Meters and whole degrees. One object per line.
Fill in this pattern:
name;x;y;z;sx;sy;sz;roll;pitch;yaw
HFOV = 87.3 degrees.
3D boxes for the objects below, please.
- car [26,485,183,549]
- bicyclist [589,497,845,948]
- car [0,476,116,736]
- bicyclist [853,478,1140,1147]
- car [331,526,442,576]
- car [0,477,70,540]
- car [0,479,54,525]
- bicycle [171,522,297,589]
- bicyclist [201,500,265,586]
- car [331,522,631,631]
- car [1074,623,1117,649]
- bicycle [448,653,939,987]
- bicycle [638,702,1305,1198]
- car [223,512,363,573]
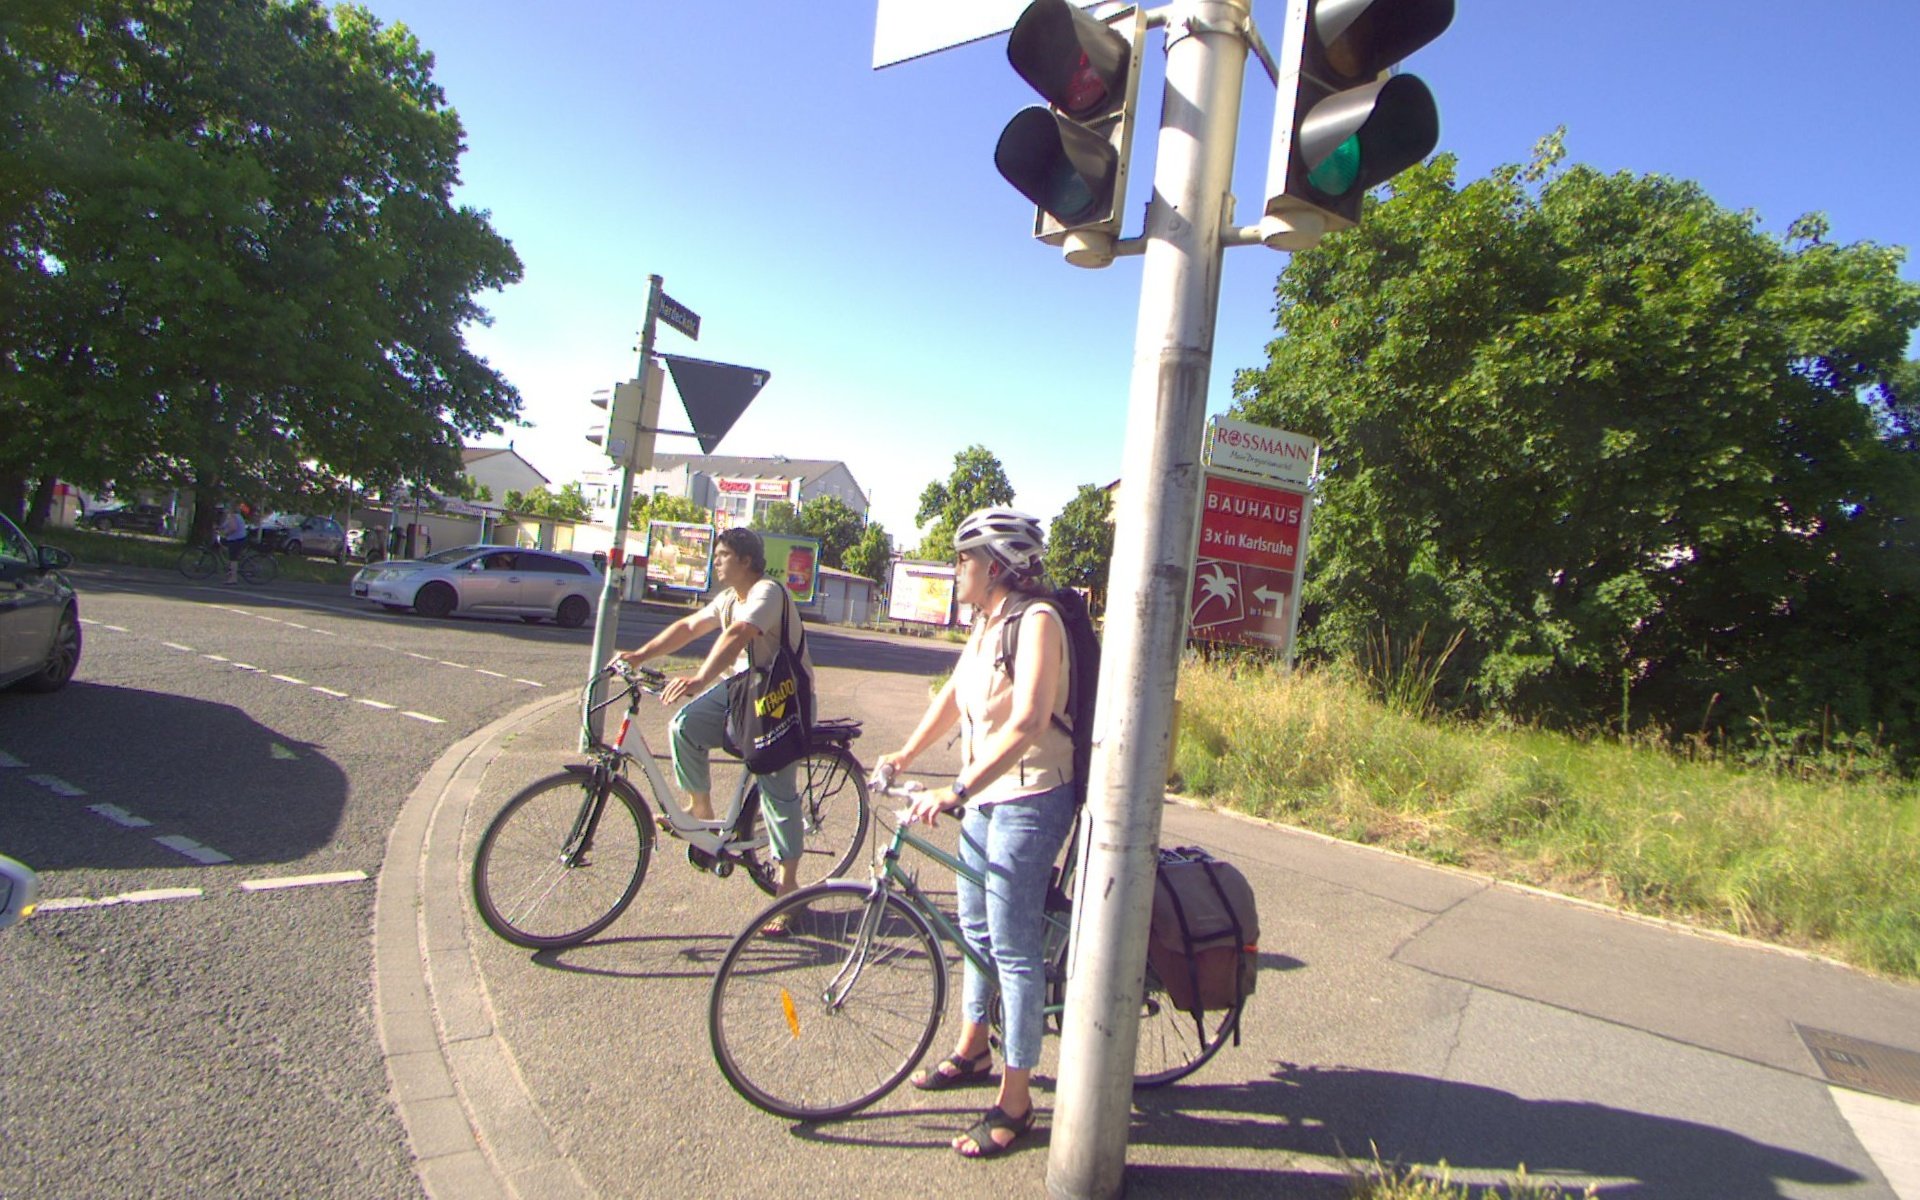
car;-30.683;-2.951;36.225;1.503;1.528;4.006;7;-3;16
bicyclist;-0.998;0.466;4.146;0.800;1.656;0.538;3;0;-38
car;-6.344;-0.068;5.565;1.749;1.509;4.256;8;0;-31
bicyclist;0.088;0.562;2.934;0.577;1.718;0.524;3;0;-24
car;-26.721;-2.261;47.012;1.964;1.625;4.002;6;-3;25
car;-38.281;-3.859;38.622;1.964;2.122;5.655;6;-3;25
car;-34.397;-3.673;34.888;1.765;1.350;4.006;7;-3;15
bicycle;-15.127;-0.912;21.027;0.520;1.155;2.021;7;0;32
bicyclist;-15.146;-1.173;20.972;0.534;1.662;0.828;7;1;32
car;-9.072;-0.380;19.475;1.815;1.506;4.871;6;-1;38
car;9.222;2.480;68.177;1.703;1.482;3.877;6;0;25
bicycle;-1.013;0.801;4.144;1.852;1.090;0.526;4;0;-37
bicycle;0.077;0.883;2.929;1.844;1.090;0.528;4;0;-24
car;-22.161;-1.853;33.632;1.727;1.391;4.005;7;-3;3
